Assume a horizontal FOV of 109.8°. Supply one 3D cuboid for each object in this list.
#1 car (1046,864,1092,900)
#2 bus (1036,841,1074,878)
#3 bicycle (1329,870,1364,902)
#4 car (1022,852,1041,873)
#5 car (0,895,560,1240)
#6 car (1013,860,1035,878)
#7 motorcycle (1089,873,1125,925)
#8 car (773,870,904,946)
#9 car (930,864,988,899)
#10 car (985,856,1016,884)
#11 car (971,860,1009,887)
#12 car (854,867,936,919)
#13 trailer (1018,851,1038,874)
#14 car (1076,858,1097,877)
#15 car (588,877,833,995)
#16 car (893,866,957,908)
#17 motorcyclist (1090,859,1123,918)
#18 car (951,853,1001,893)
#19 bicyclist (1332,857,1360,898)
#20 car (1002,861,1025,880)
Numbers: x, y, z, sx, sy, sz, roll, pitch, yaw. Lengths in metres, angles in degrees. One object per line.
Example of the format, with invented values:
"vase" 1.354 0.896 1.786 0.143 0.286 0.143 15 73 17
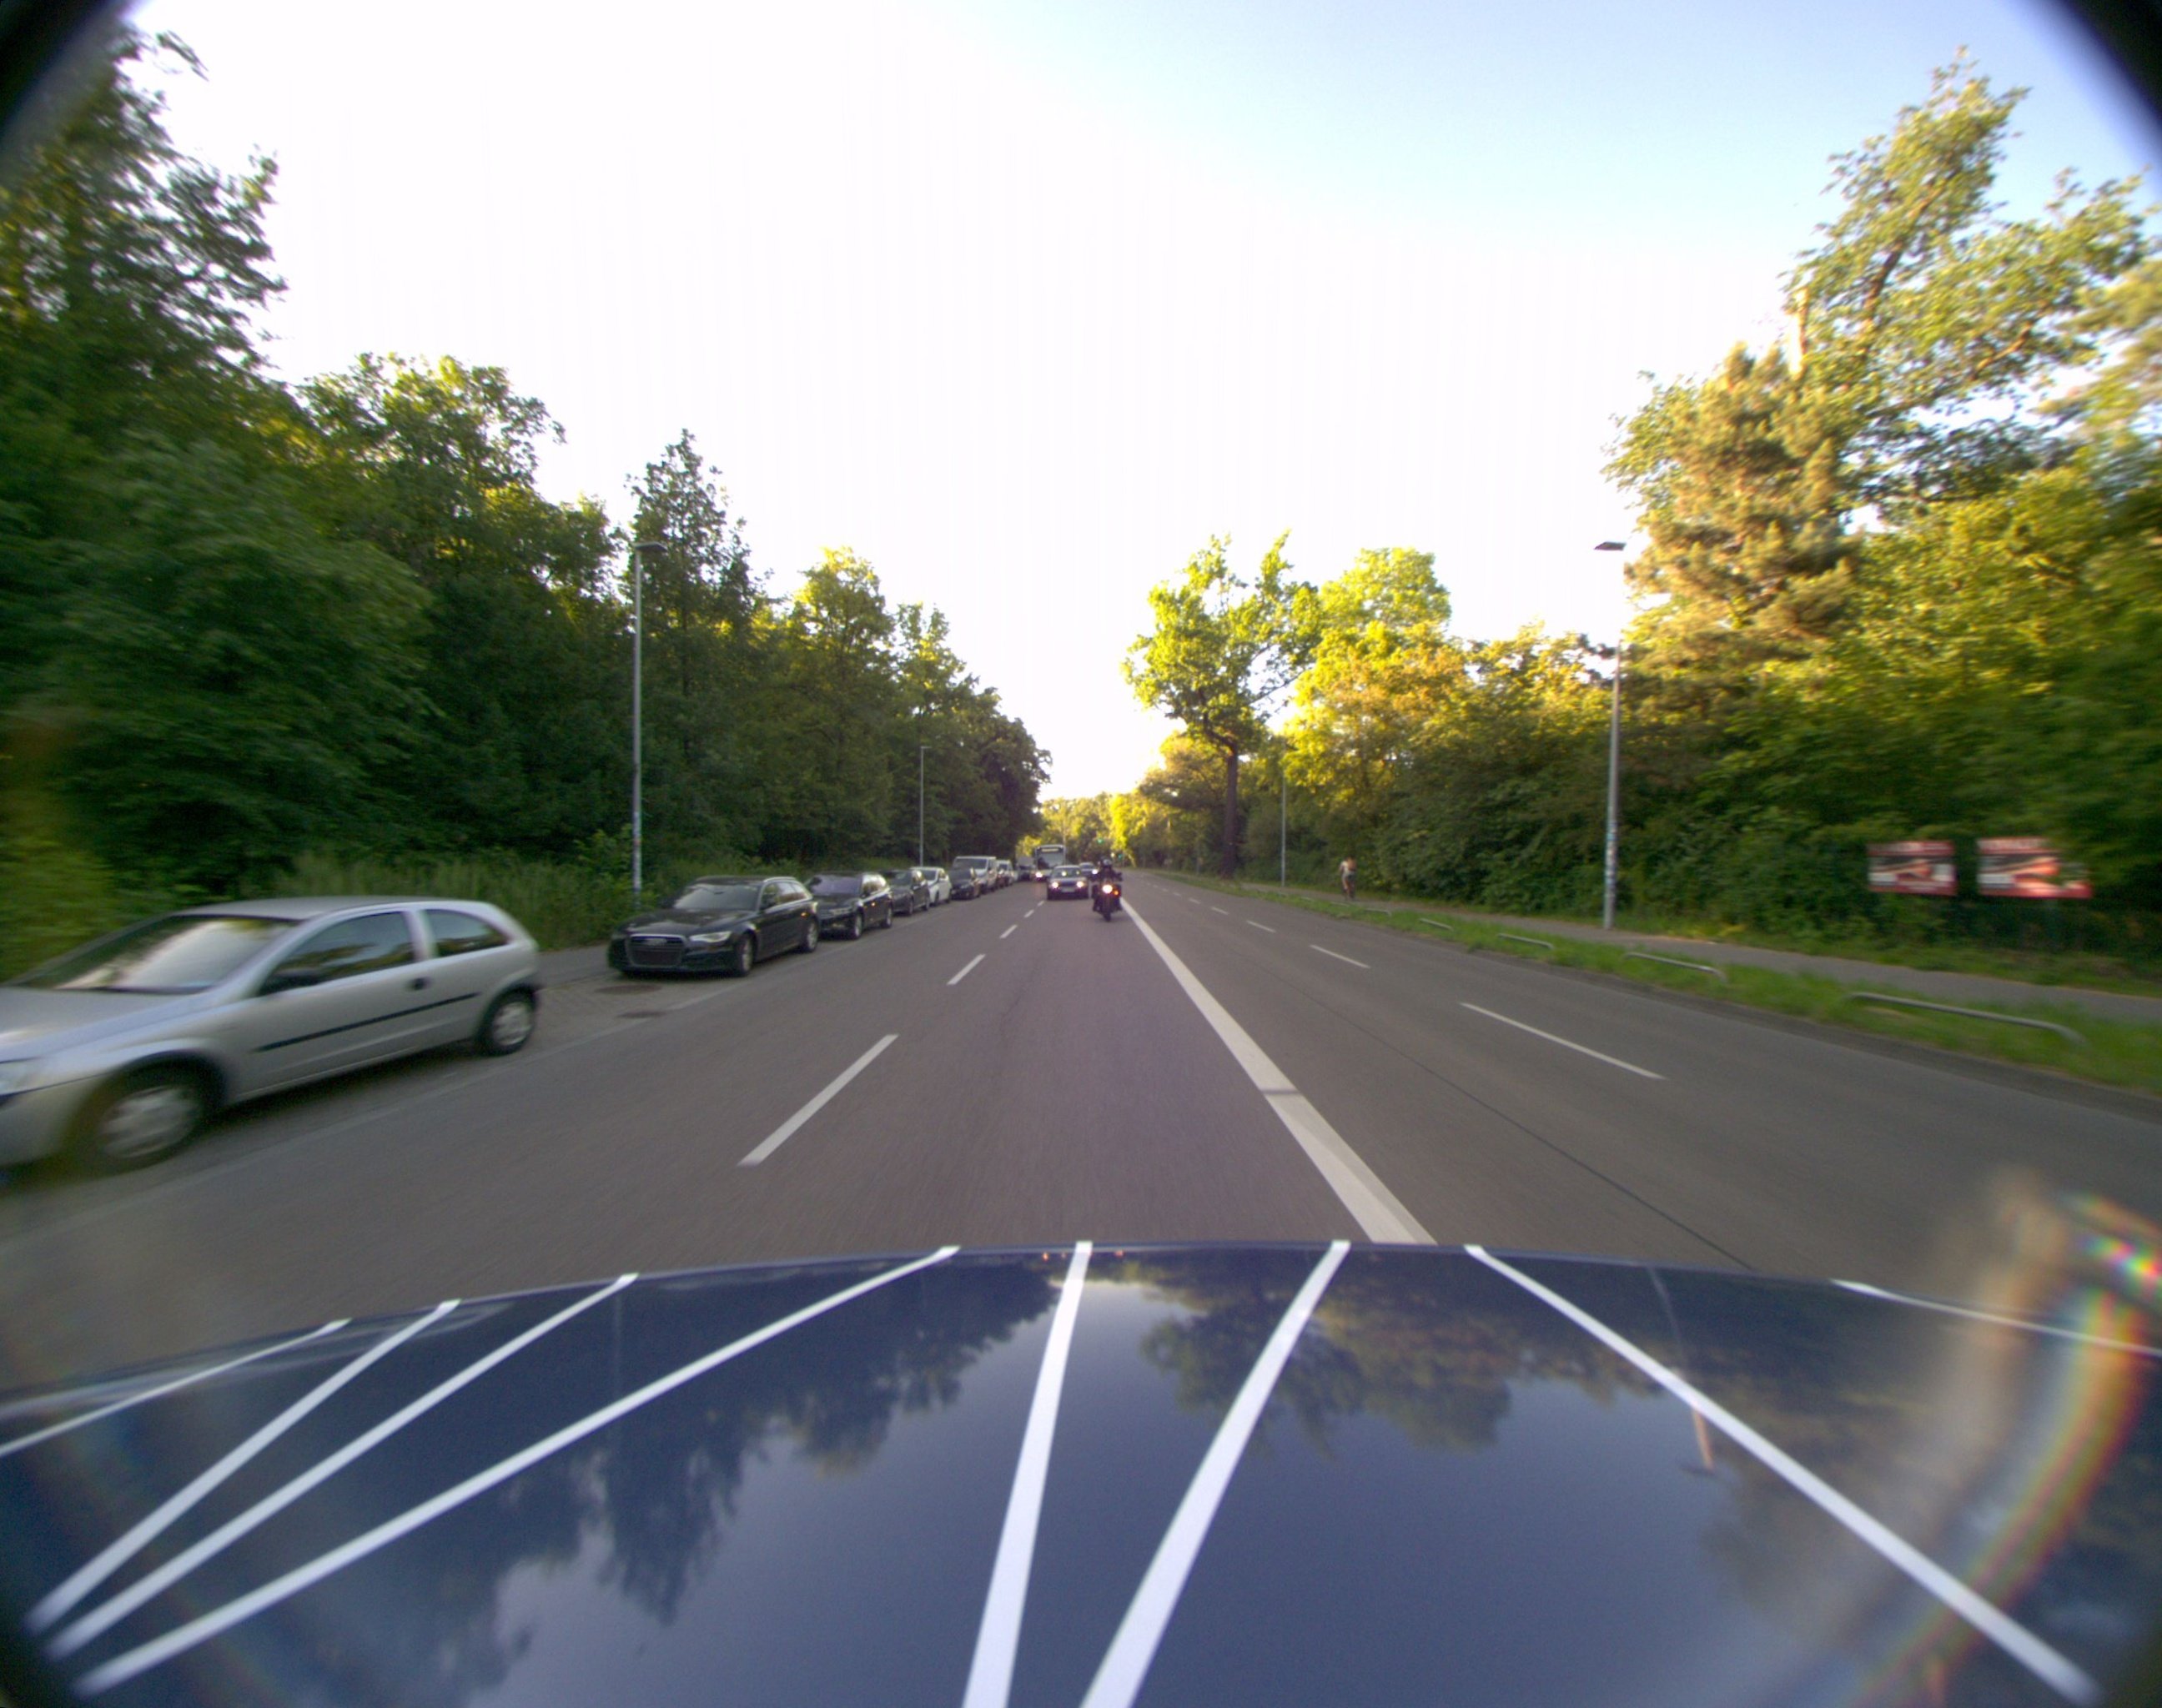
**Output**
"car" -0.462 1.146 32.445 1.678 1.351 3.995 -1 0 3
"bus" -2.225 0.465 68.621 2.812 3.030 12.886 -1 0 0
"bicycle" 10.623 1.266 30.453 0.714 1.140 1.993 -2 1 0
"car" -5.789 0.938 89.076 1.909 2.409 5.575 1 0 -1
"car" -6.037 1.141 5.374 1.778 1.445 4.015 1 0 3
"car" -5.210 1.356 70.152 1.763 1.526 4.988 1 0 -1
"motorcycle" 0.651 1.130 19.861 0.830 1.211 2.603 -1 0 0
"car" -5.628 1.175 18.293 1.641 1.445 4.897 1 0 -1
"car" -5.481 1.216 34.573 1.873 1.398 4.369 1 0 1
"car" -5.620 1.083 53.610 1.763 1.793 4.736 1 0 -1
"car" -5.600 1.186 47.338 1.763 1.538 4.429 1 0 1
"car" -5.898 1.193 24.549 1.589 1.445 3.943 1 0 1
"trailer" -5.750 0.918 82.291 1.909 2.409 5.125 1 0 -1
"car" 0.524 1.213 67.718 1.678 1.552 3.995 -1 0 2
"car" -5.905 1.205 12.952 1.779 1.445 5.037 1 0 -1
"car" -5.975 1.215 29.506 1.589 1.445 3.798 1 0 2
"motorcyclist" 0.652 0.871 19.858 0.830 1.484 1.024 -1 0 0
"car" -5.586 0.963 41.055 1.873 1.969 5.474 1 0 1
"bicyclist" 10.617 0.929 30.457 0.714 1.550 1.142 -2 1 0
"car" -5.645 1.354 63.936 1.589 1.486 3.180 1 0 2
